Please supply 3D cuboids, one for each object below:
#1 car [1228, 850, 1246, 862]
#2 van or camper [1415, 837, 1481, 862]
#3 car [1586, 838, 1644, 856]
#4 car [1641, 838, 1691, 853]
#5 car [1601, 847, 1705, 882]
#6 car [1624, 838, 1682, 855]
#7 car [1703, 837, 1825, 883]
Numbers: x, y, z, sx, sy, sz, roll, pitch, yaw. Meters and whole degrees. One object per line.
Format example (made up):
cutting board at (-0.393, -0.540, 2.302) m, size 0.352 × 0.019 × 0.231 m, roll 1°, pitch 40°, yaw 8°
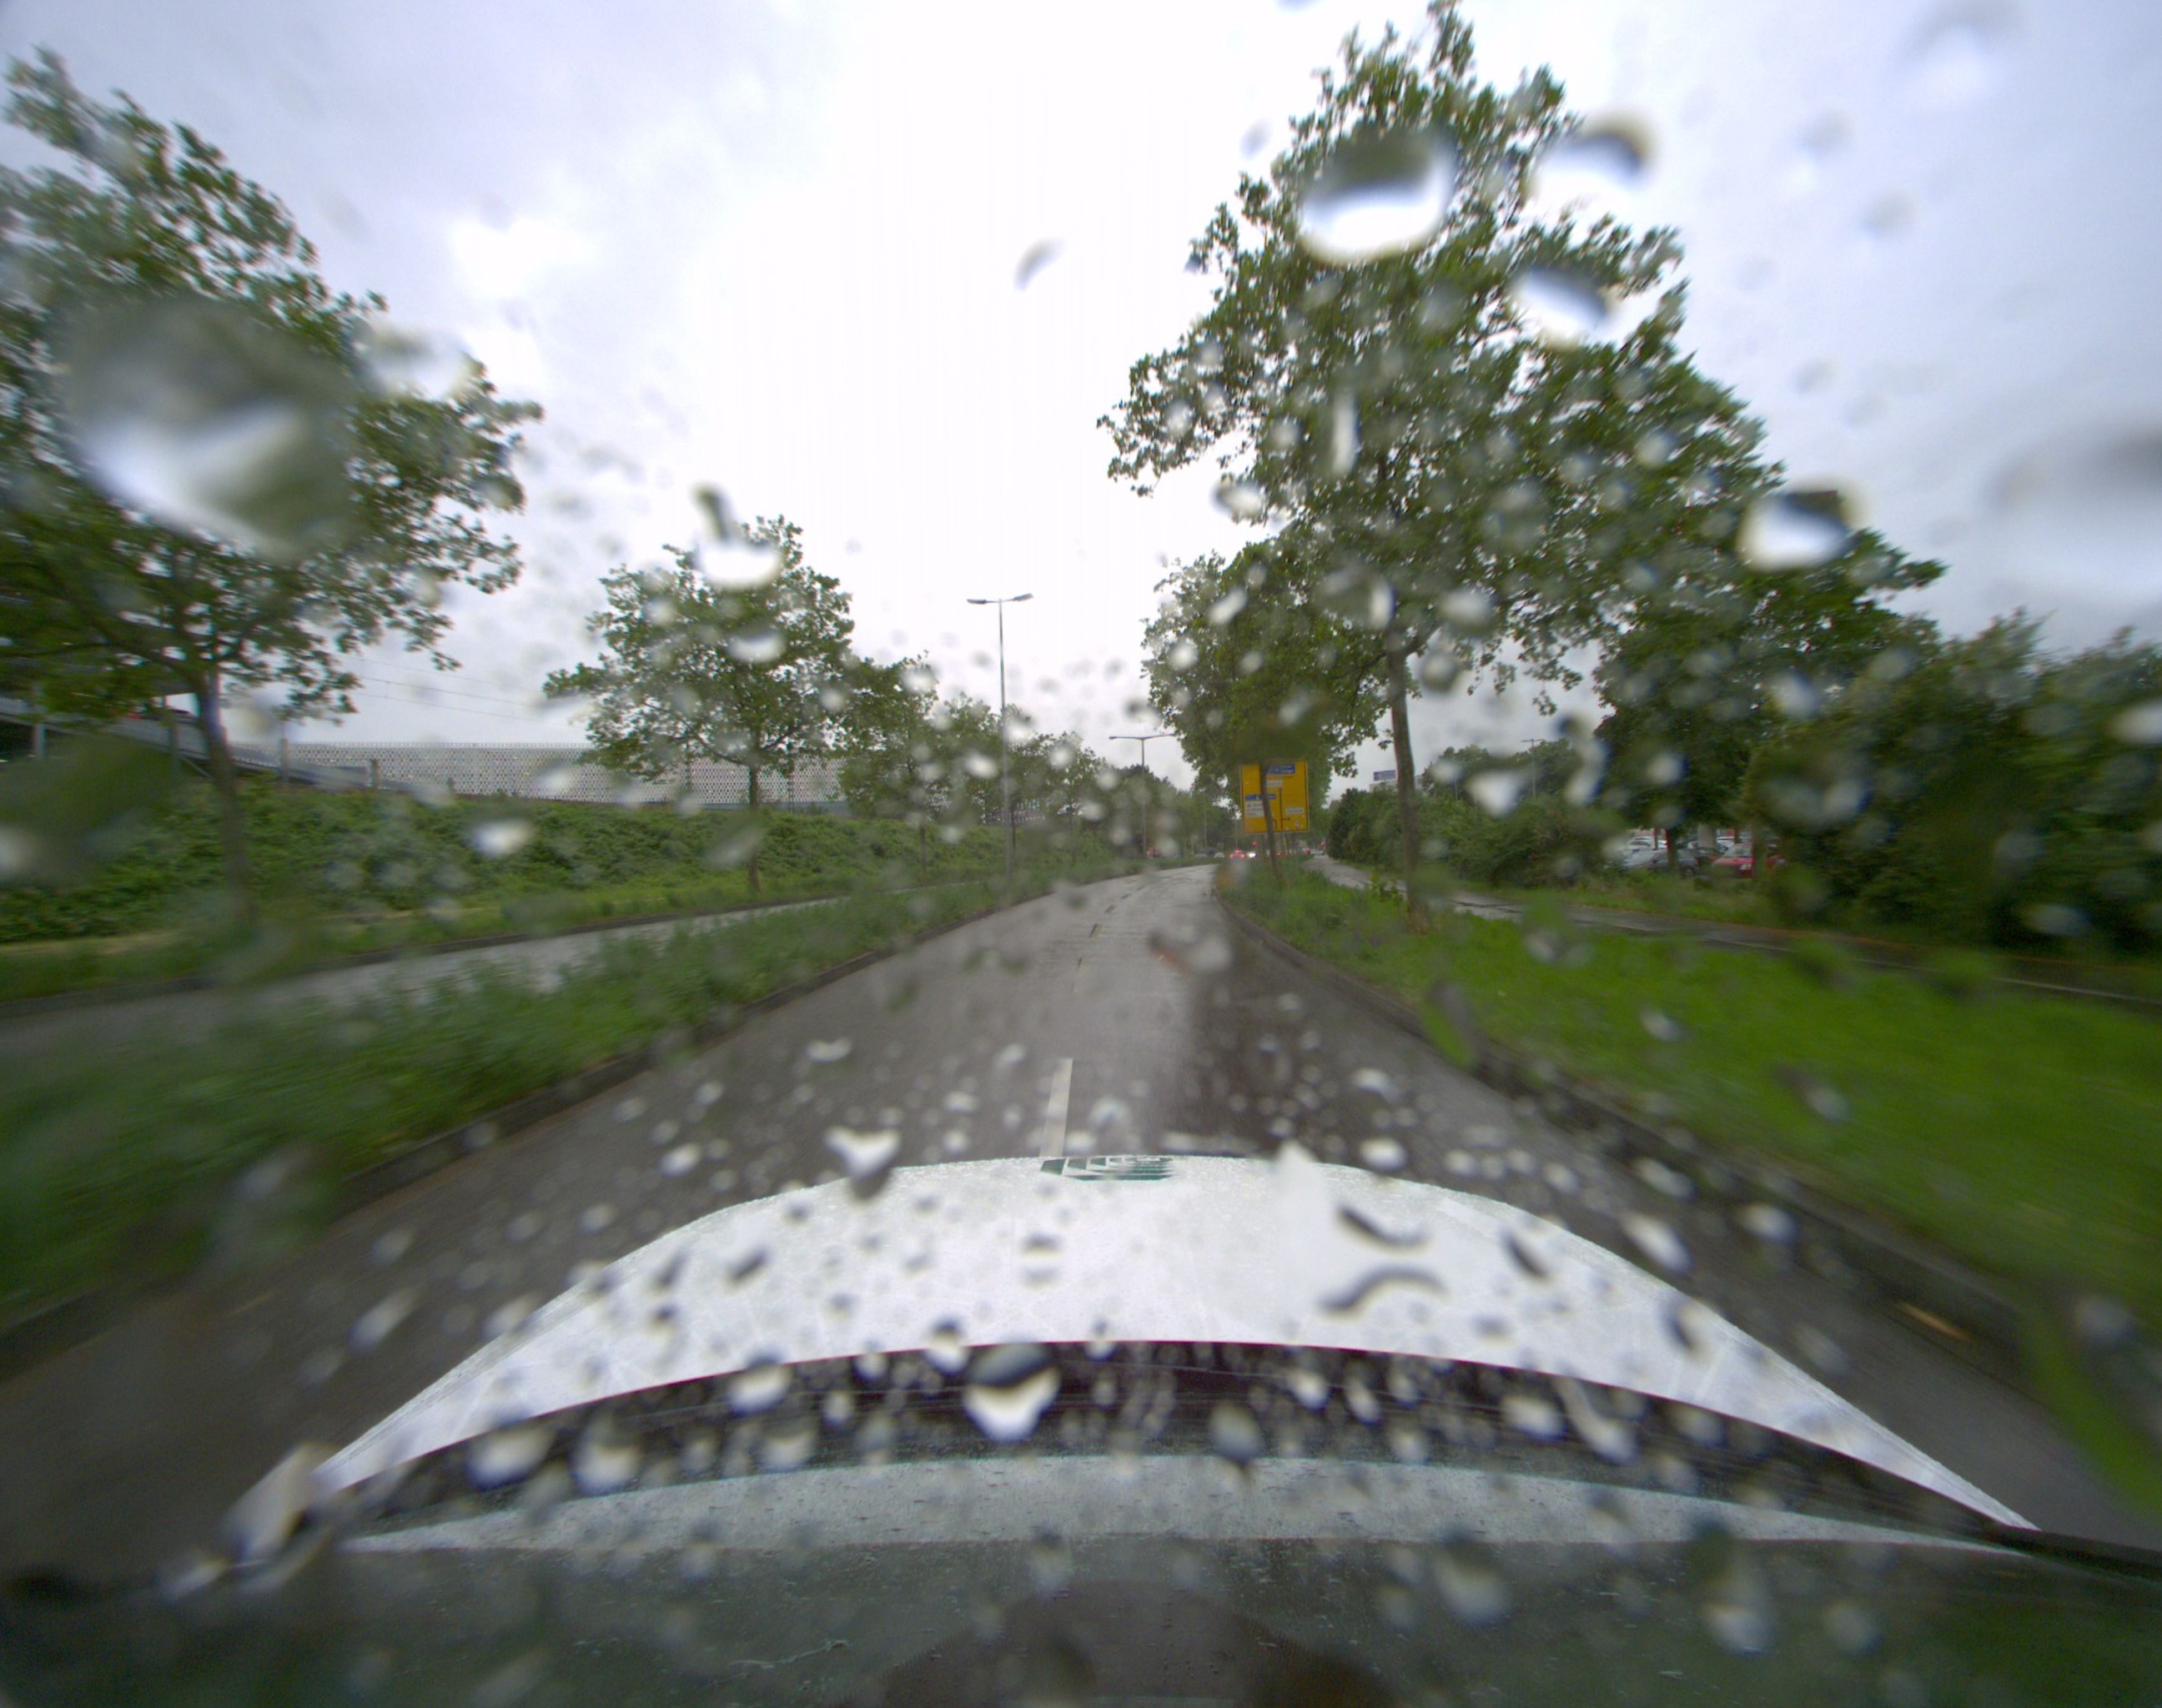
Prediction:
car at (19.510, 0.199, 101.817) m, size 1.677 × 1.433 × 4.594 m, roll -1°, pitch -1°, yaw 17°
van or camper at (40.121, -0.467, 89.169) m, size 6.316 × 2.544 × 2.008 m, roll -1°, pitch -1°, yaw 14°
car at (46.843, -0.593, 71.500) m, size 1.784 × 1.479 × 4.050 m, roll -1°, pitch 0°, yaw -18°
car at (62.793, -0.888, 87.477) m, size 1.784 × 1.479 × 4.050 m, roll -1°, pitch 0°, yaw -18°
car at (25.352, 0.448, 36.102) m, size 4.299 × 1.371 × 1.742 m, roll -2°, pitch 0°, yaw -22°
car at (51.409, -0.641, 73.292) m, size 1.784 × 1.479 × 4.050 m, roll -1°, pitch 0°, yaw -18°
car at (26.925, 0.217, 32.105) m, size 4.295 × 1.674 × 1.743 m, roll -2°, pitch 0°, yaw -19°
